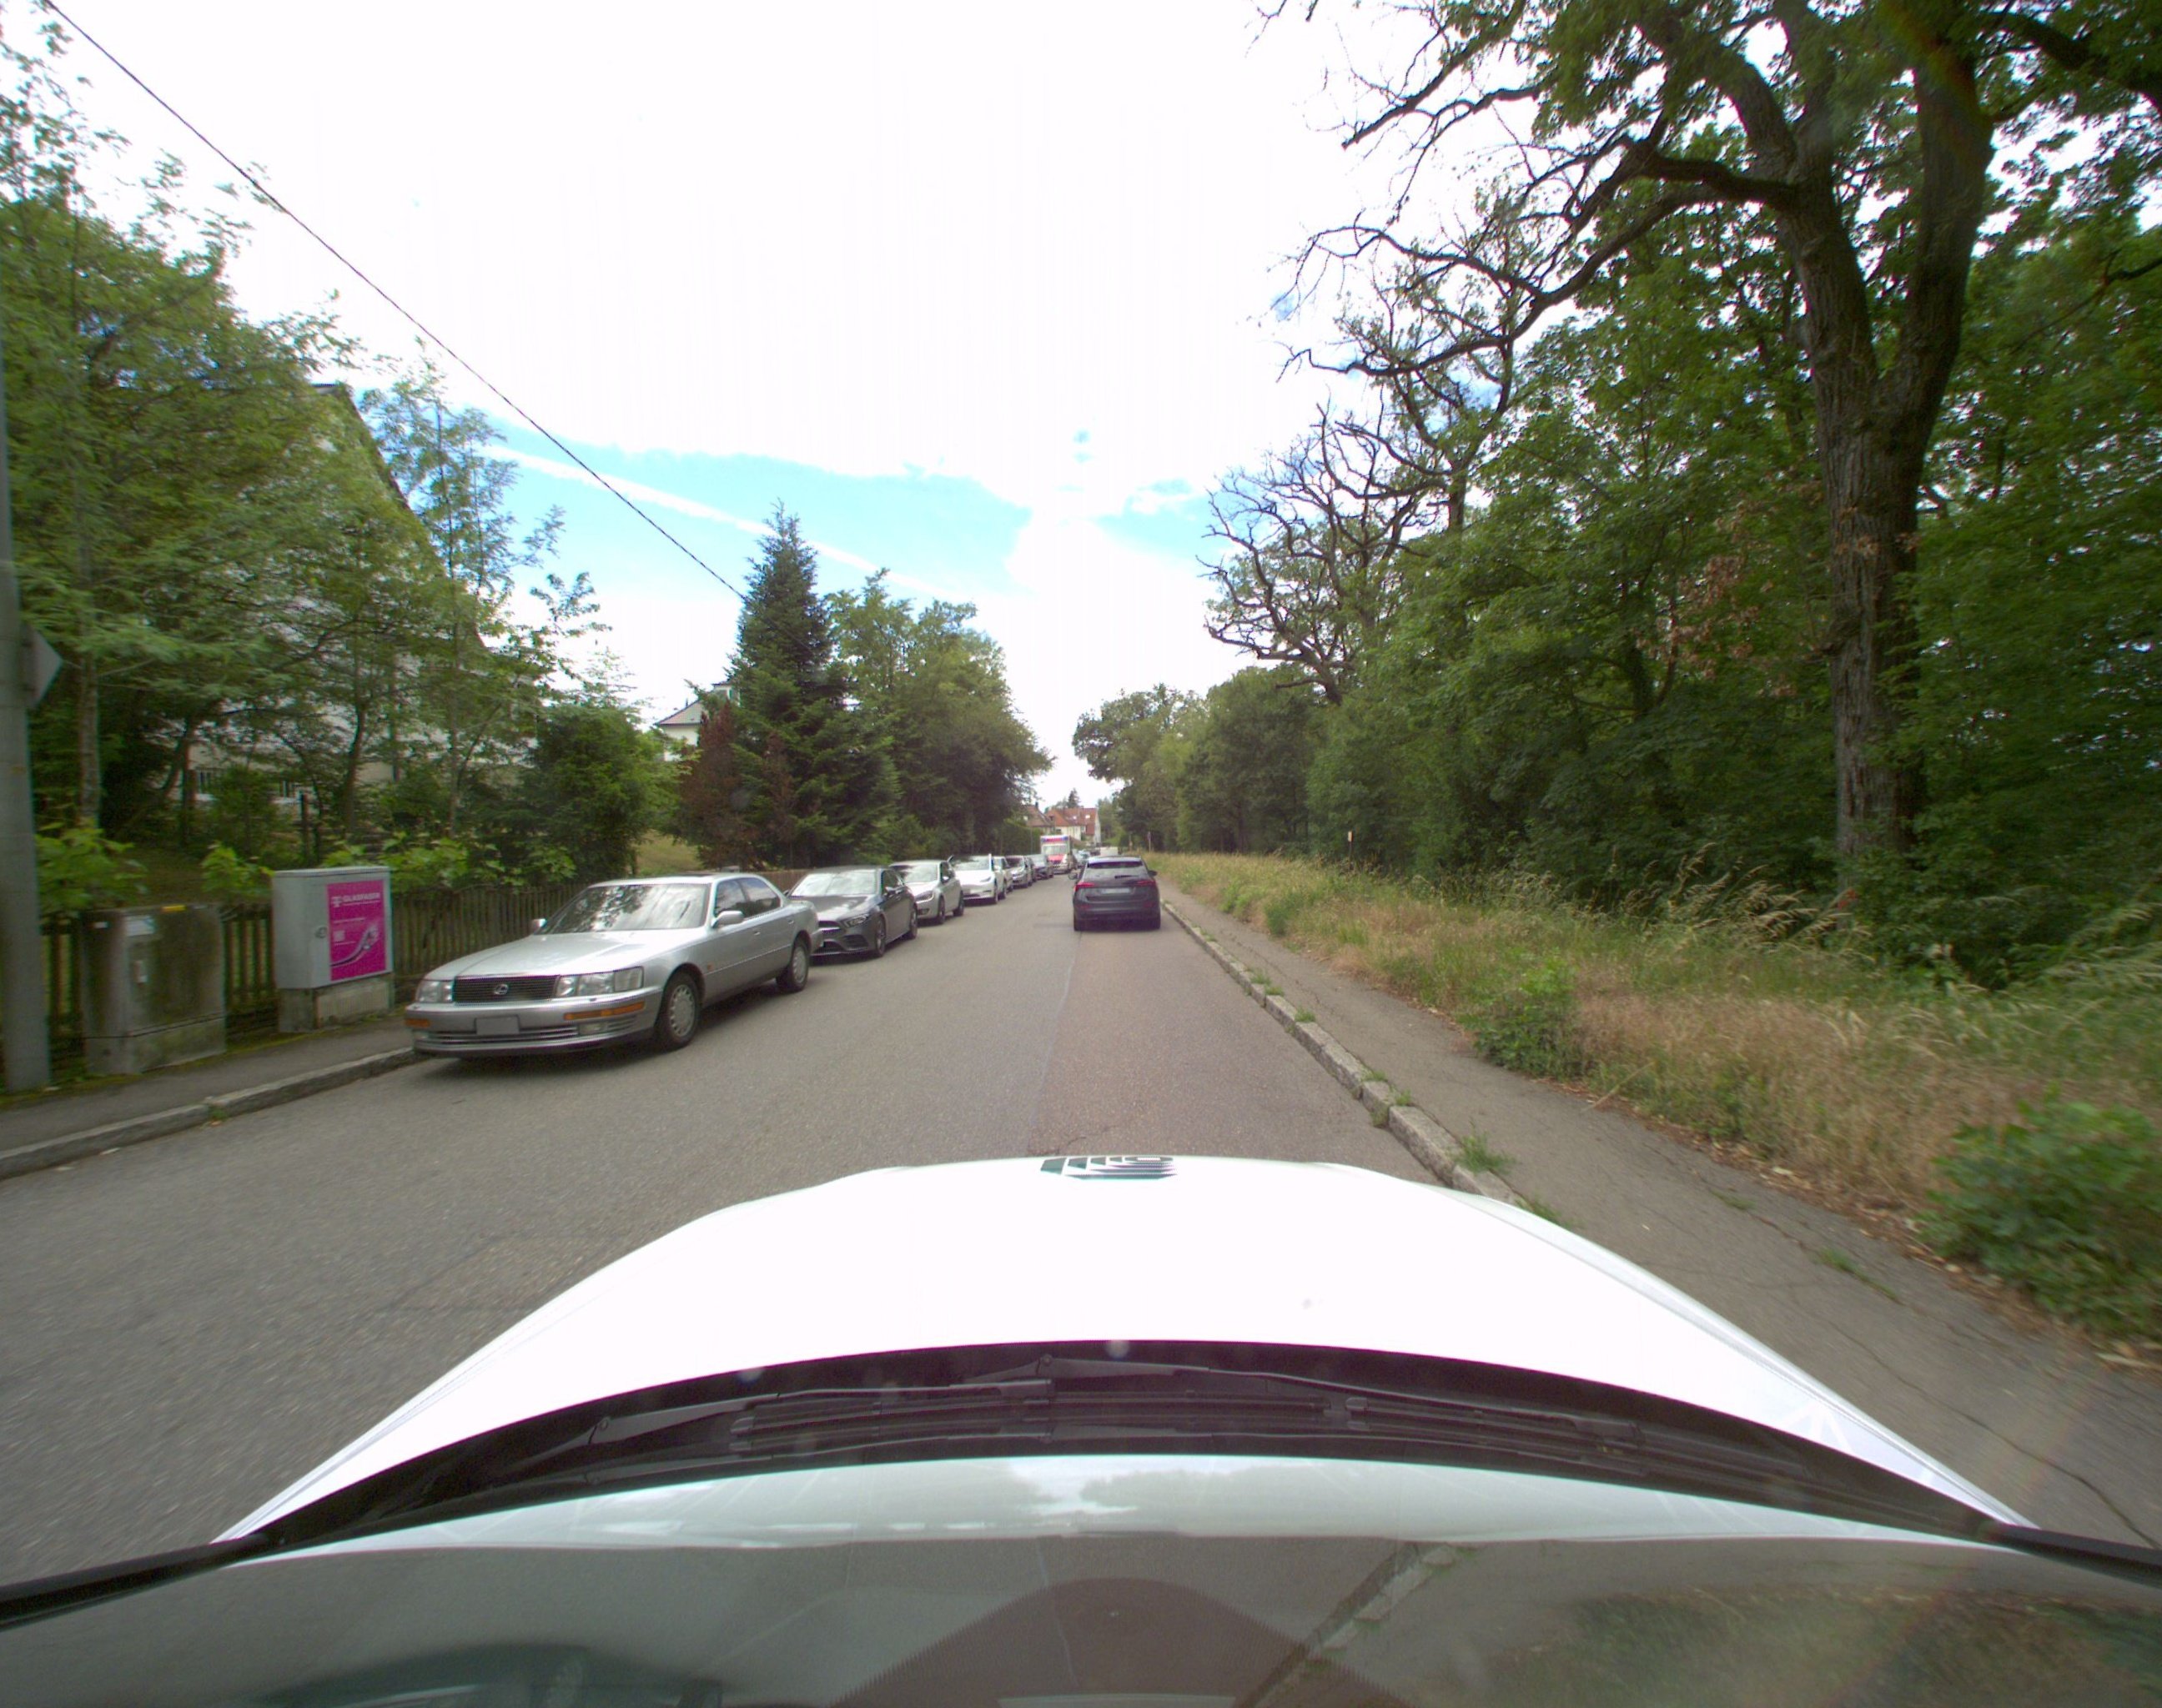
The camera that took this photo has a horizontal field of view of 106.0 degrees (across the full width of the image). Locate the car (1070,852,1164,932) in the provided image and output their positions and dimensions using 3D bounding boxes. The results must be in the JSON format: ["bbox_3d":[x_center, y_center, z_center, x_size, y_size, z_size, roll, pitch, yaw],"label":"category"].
[{"bbox_3d":[0.653,0.714,17.454,1.723,1.439,4.321,-1,0,-1],"label":"car"}]

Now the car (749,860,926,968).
[{"bbox_3d":[-3.904,0.881,13.842,1.729,1.439,4.260,-2,0,-1],"label":"car"}]

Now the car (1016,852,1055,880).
[{"bbox_3d":[-2.735,0.713,49.966,1.790,1.505,4.868,-4,0,3],"label":"car"}]

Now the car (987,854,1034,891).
[{"bbox_3d":[-3.174,0.787,37.239,1.715,1.505,4.007,-4,0,-1],"label":"car"}]

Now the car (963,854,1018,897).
[{"bbox_3d":[-3.570,0.803,32.710,1.715,1.504,3.816,-4,0,-1],"label":"car"}]

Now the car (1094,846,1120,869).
[{"bbox_3d":[2.293,0.287,72.503,2.066,1.922,4.919,-1,0,-2],"label":"car"}]

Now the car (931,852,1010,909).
[{"bbox_3d":[-3.517,0.786,26.769,1.911,1.562,4.602,-4,0,-1],"label":"car"}]

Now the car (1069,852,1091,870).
[{"bbox_3d":[-0.063,0.632,78.480,1.756,1.446,4.478,-2,2,3],"label":"car"}]

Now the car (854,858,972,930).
[{"bbox_3d":[-3.932,0.879,19.752,1.828,1.439,4.118,-3,0,1],"label":"car"}]

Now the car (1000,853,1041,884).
[{"bbox_3d":[-3.225,0.750,43.979,1.714,1.505,4.061,-4,0,1],"label":"car"}]

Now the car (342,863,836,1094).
[{"bbox_3d":[-4.112,0.876,8.048,1.842,1.439,4.909,-2,0,0],"label":"car"}]

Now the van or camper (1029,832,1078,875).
[{"bbox_3d":[-1.942,-0.039,60.202,2.443,2.895,7.181,-2,0,6],"label":"van or camper"}]
